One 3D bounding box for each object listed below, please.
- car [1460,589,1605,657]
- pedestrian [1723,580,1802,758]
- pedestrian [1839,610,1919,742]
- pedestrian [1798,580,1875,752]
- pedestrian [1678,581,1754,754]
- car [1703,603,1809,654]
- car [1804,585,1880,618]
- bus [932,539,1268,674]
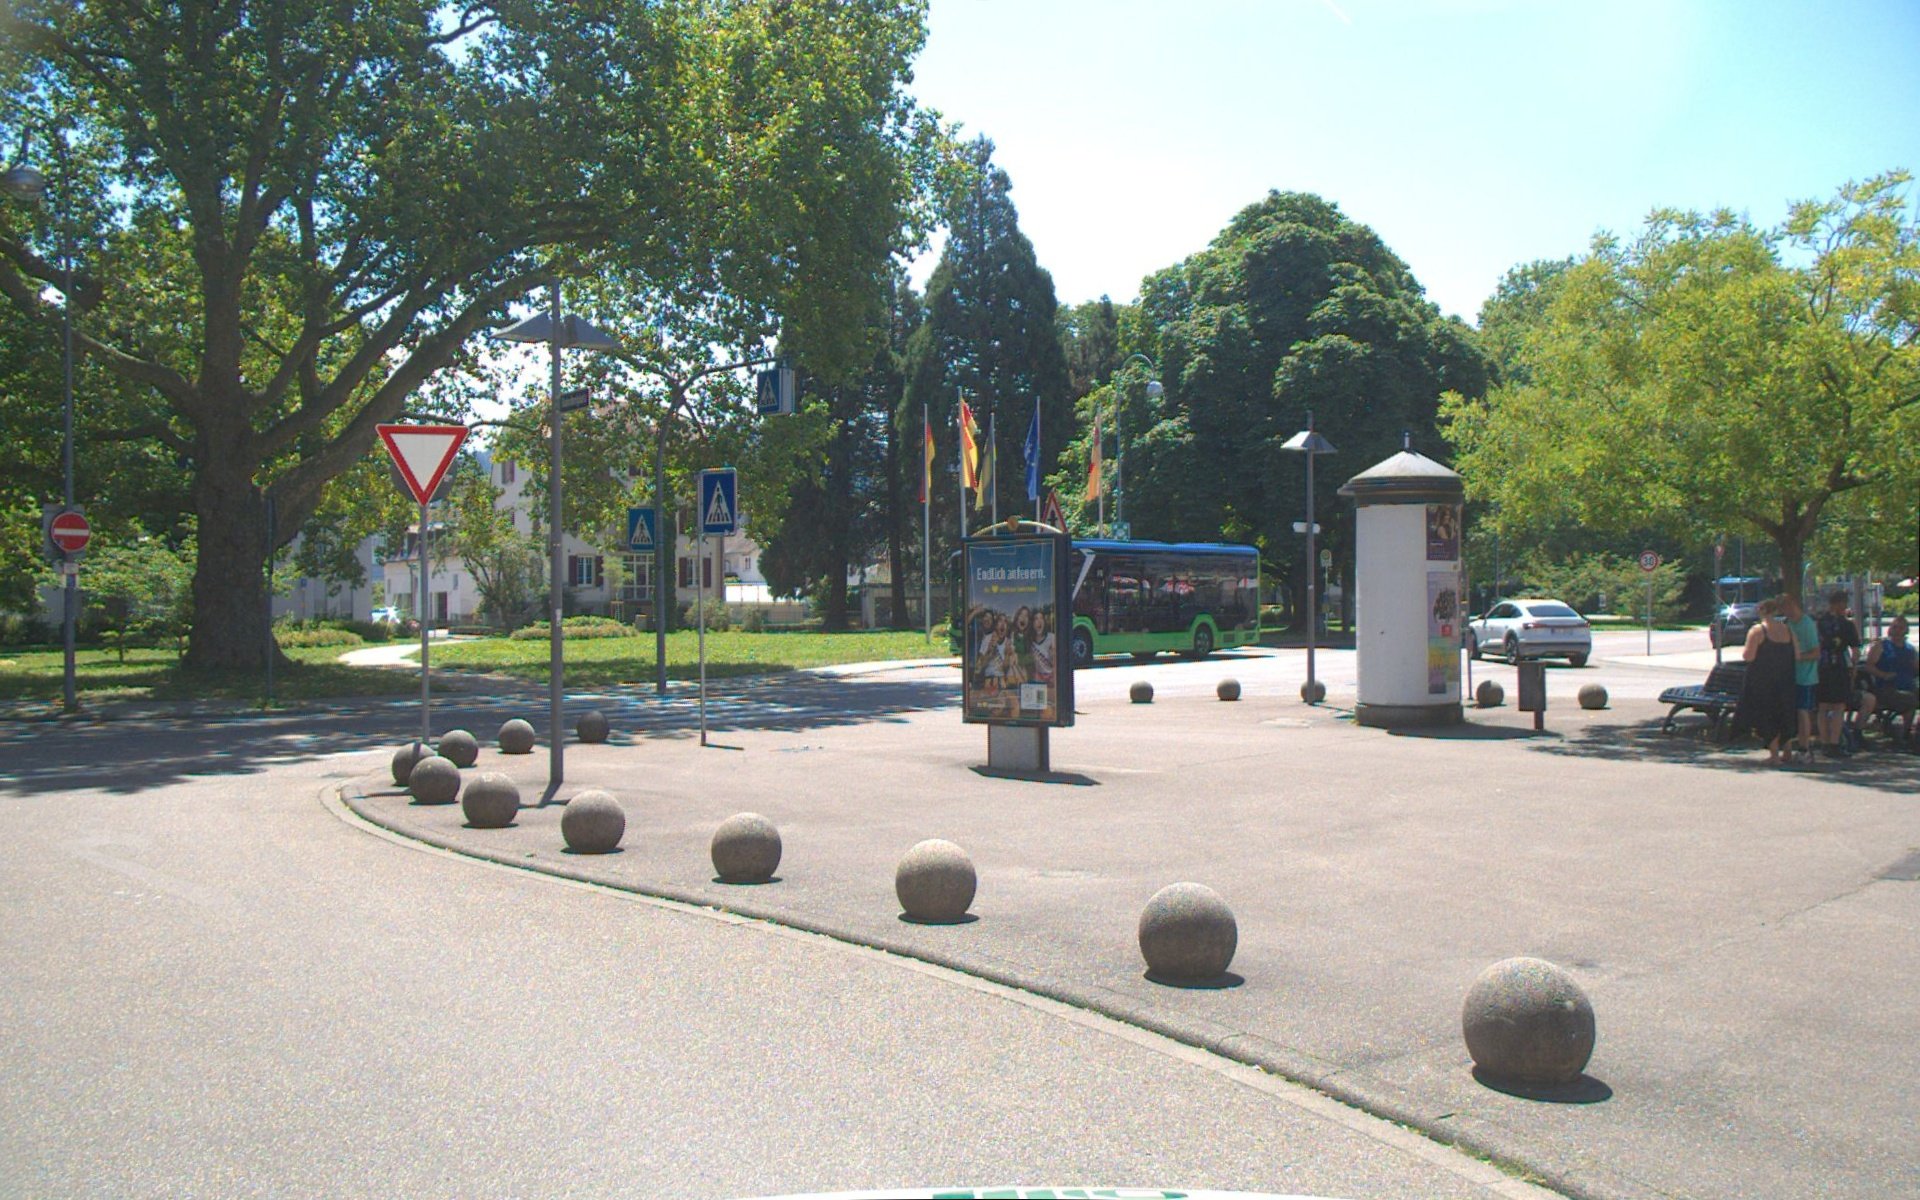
[{"bbox_3d":[14.915,0.580,43.356,1.943,1.655,4.776,-1,0,-3],"label":"car"},{"bbox_3d":[8.118,0.689,16.748,0.612,1.770,0.548,-1,-1,16],"label":"pedestrian"},{"bbox_3d":[10.305,0.816,18.173,0.890,1.410,0.945,-1,-1,12],"label":"pedestrian"},{"bbox_3d":[9.234,0.683,17.442,0.571,1.770,0.600,-1,-1,16],"label":"pedestrian"},{"bbox_3d":[8.006,0.703,17.543,0.677,1.795,0.585,-1,-1,22],"label":"pedestrian"},{"bbox_3d":[25.432,0.886,52.781,1.897,1.486,4.699,-5,-3,40],"label":"car"},{"bbox_3d":[60.182,0.103,112.982,2.161,2.211,4.874,-1,0,-7],"label":"car"},{"bbox_3d":[4.342,0.141,46.680,2.766,3.340,12.356,-1,0,41],"label":"bus"}]
